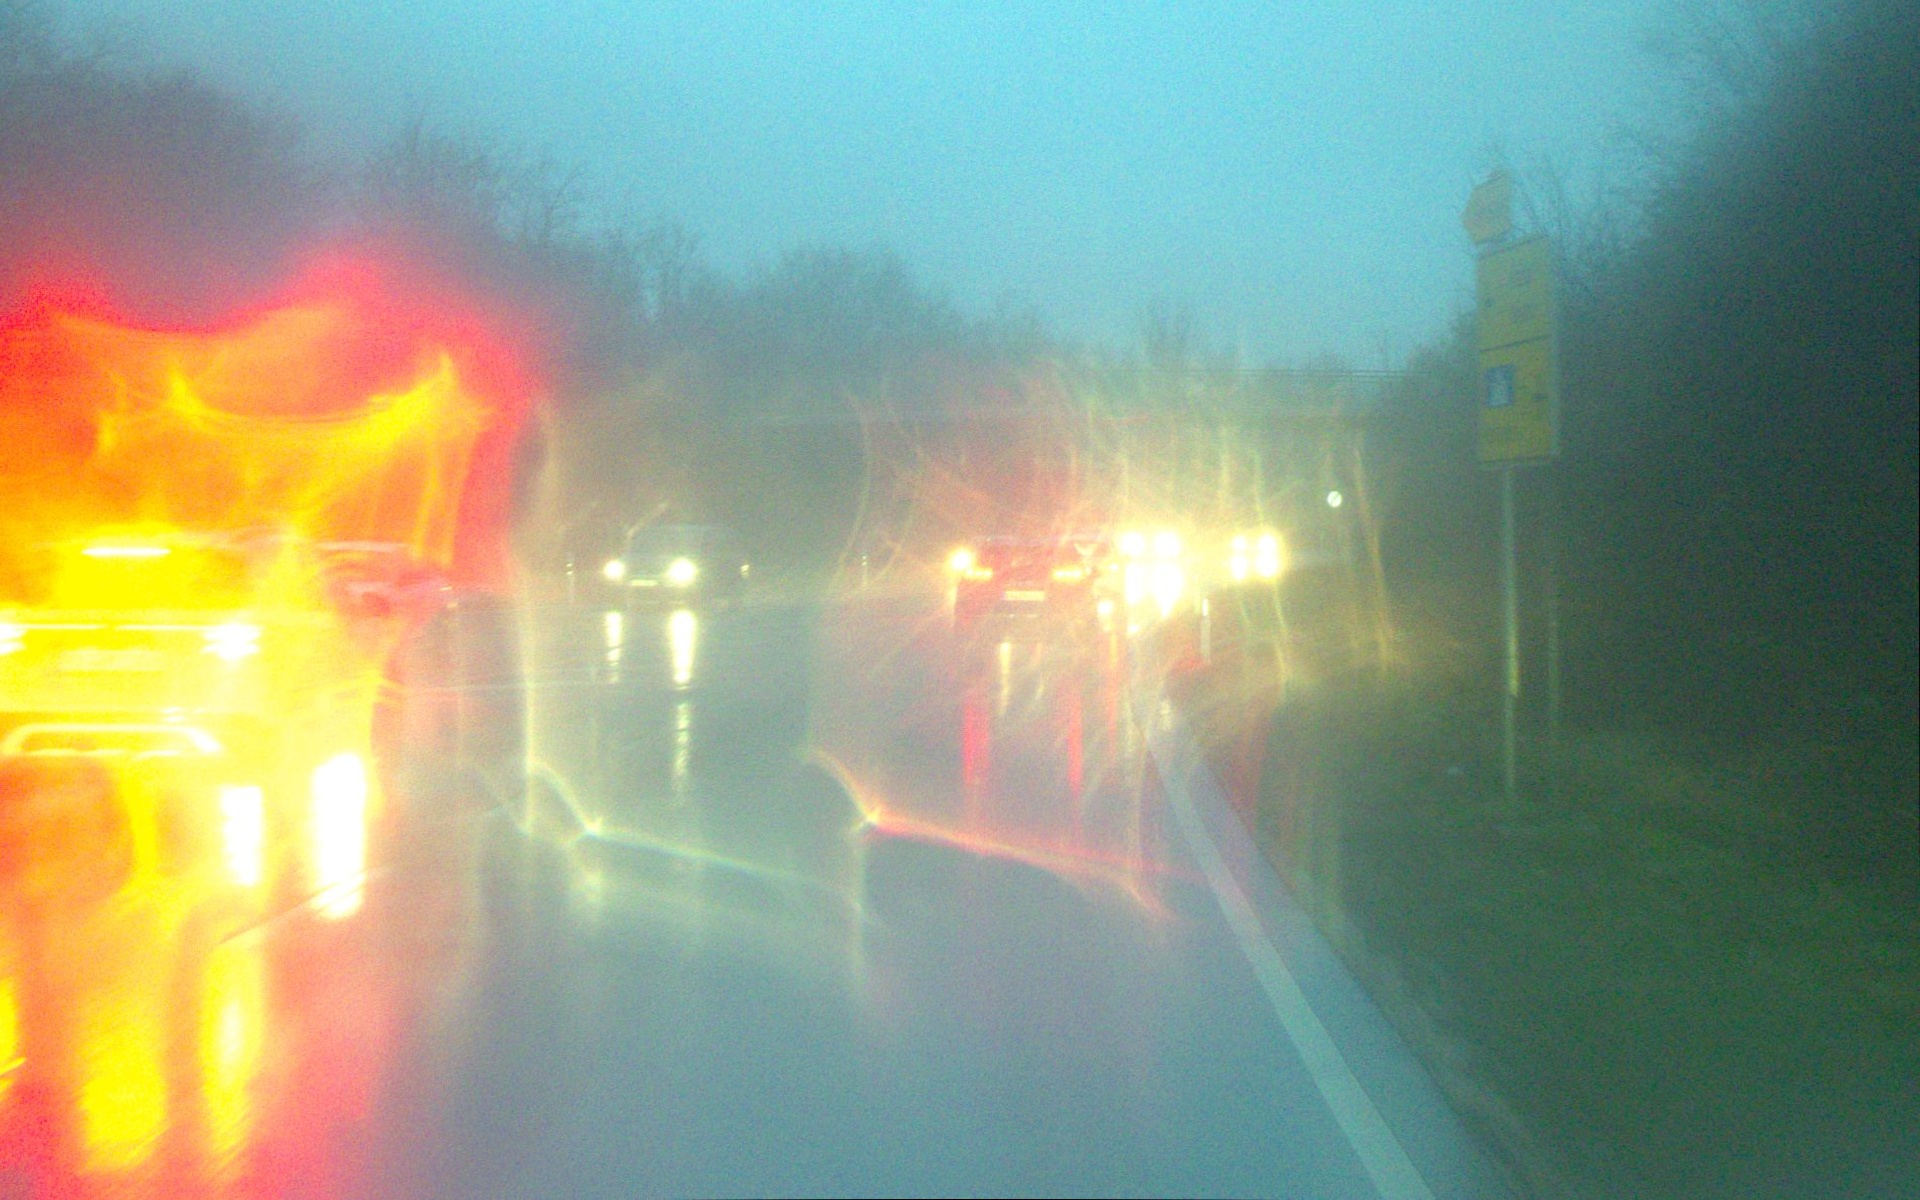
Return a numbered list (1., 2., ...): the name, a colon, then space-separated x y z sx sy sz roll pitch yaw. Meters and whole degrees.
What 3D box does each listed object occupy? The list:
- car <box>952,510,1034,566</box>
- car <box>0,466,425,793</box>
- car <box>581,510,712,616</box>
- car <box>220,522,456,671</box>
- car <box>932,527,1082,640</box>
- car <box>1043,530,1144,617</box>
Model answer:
1. car: 0.964 -1.798 98.788 1.824 1.518 4.297 0 2 8
2. car: -4.211 0.108 19.436 1.713 1.621 4.218 1 1 0
3. car: -6.148 -0.734 67.919 1.838 1.963 4.357 2 1 4
4. car: -7.176 -0.078 40.090 1.823 1.611 4.573 1 1 1
5. car: 0.647 -0.247 44.326 1.679 1.385 4.098 0 1 4
6. car: 2.669 -0.547 68.173 1.679 1.669 4.097 0 1 7
